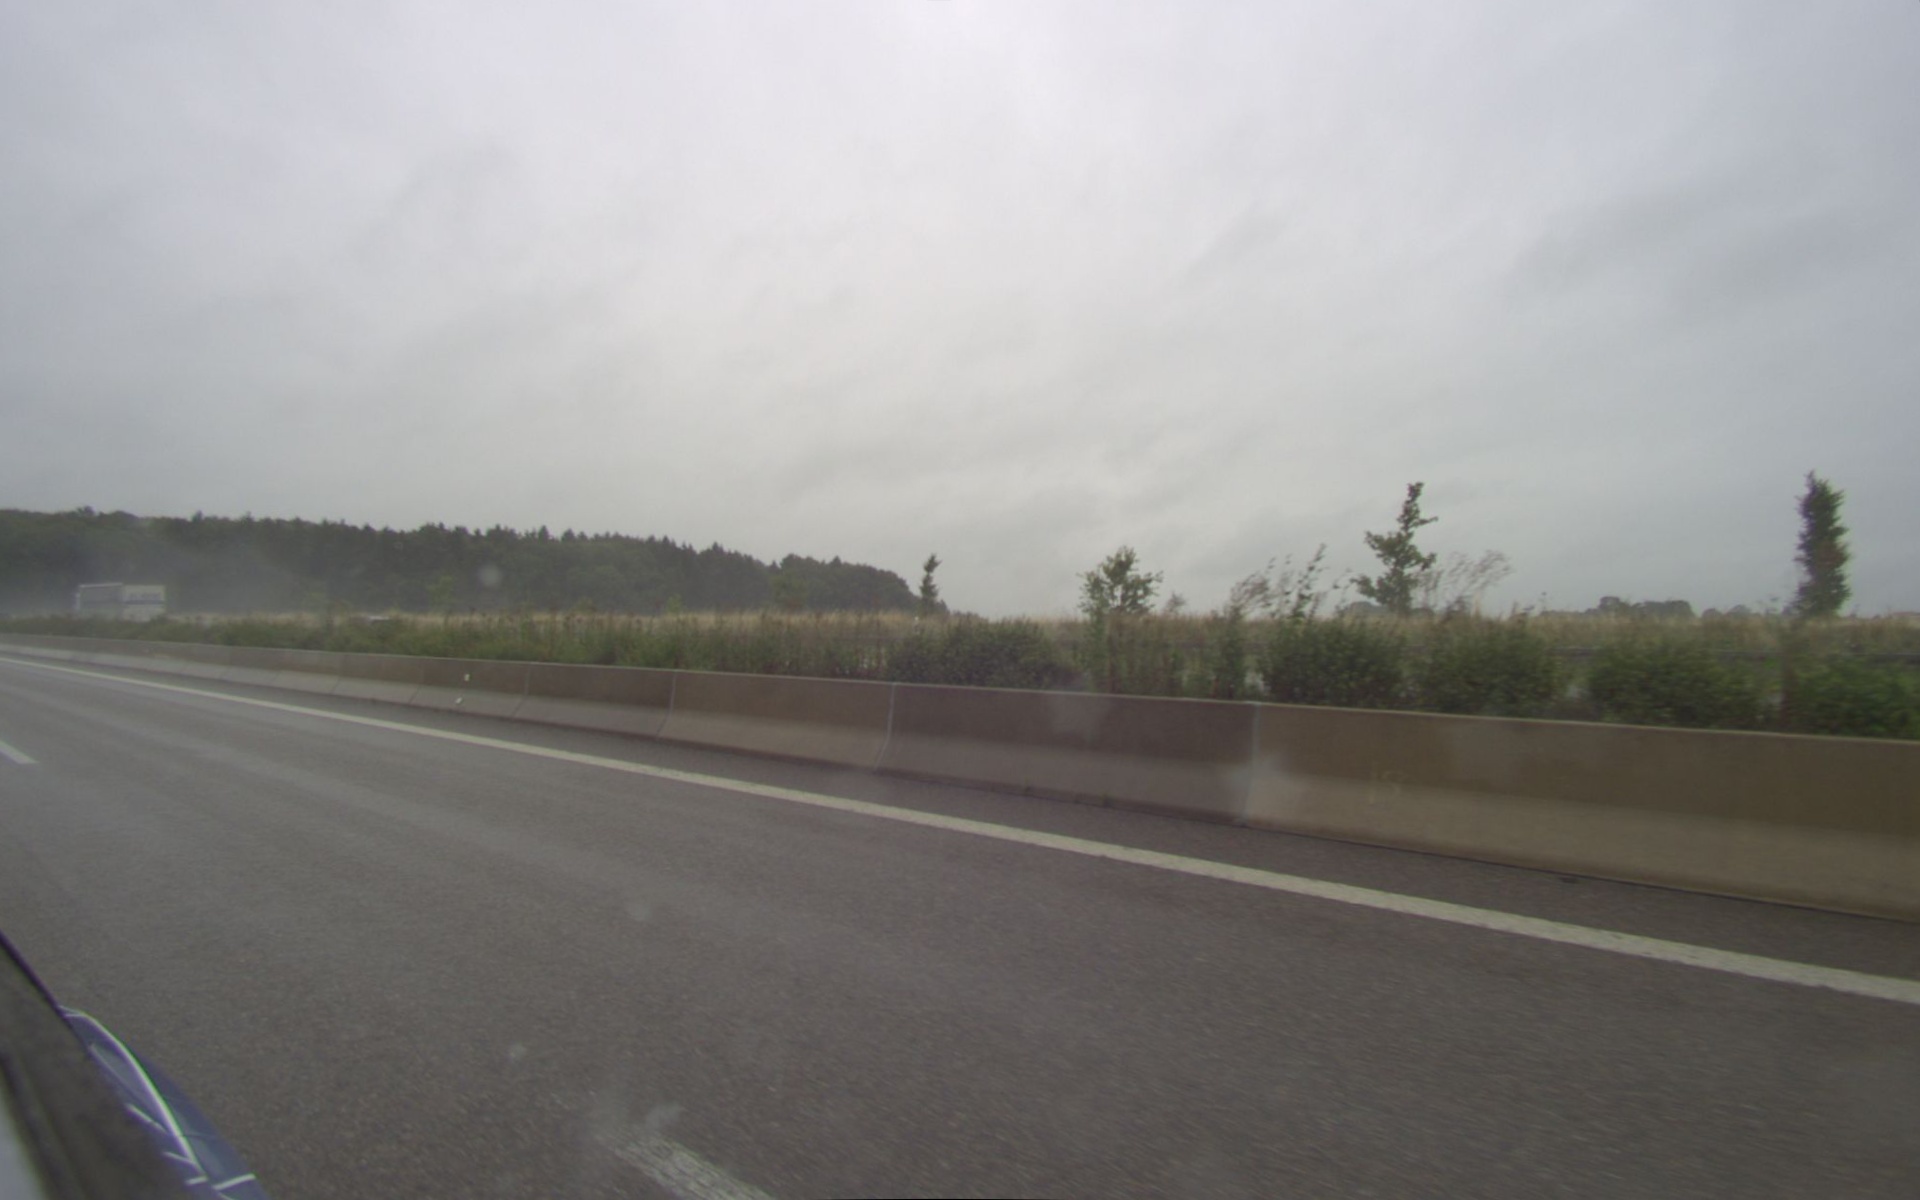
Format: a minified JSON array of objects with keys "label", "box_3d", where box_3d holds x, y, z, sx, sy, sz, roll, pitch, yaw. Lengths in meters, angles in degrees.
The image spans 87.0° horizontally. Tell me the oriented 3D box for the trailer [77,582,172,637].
[{"label":"trailer","box_3d":[-66.295,0.795,80.100,13.876,4.049,3.352,-1,-1,40]}]
